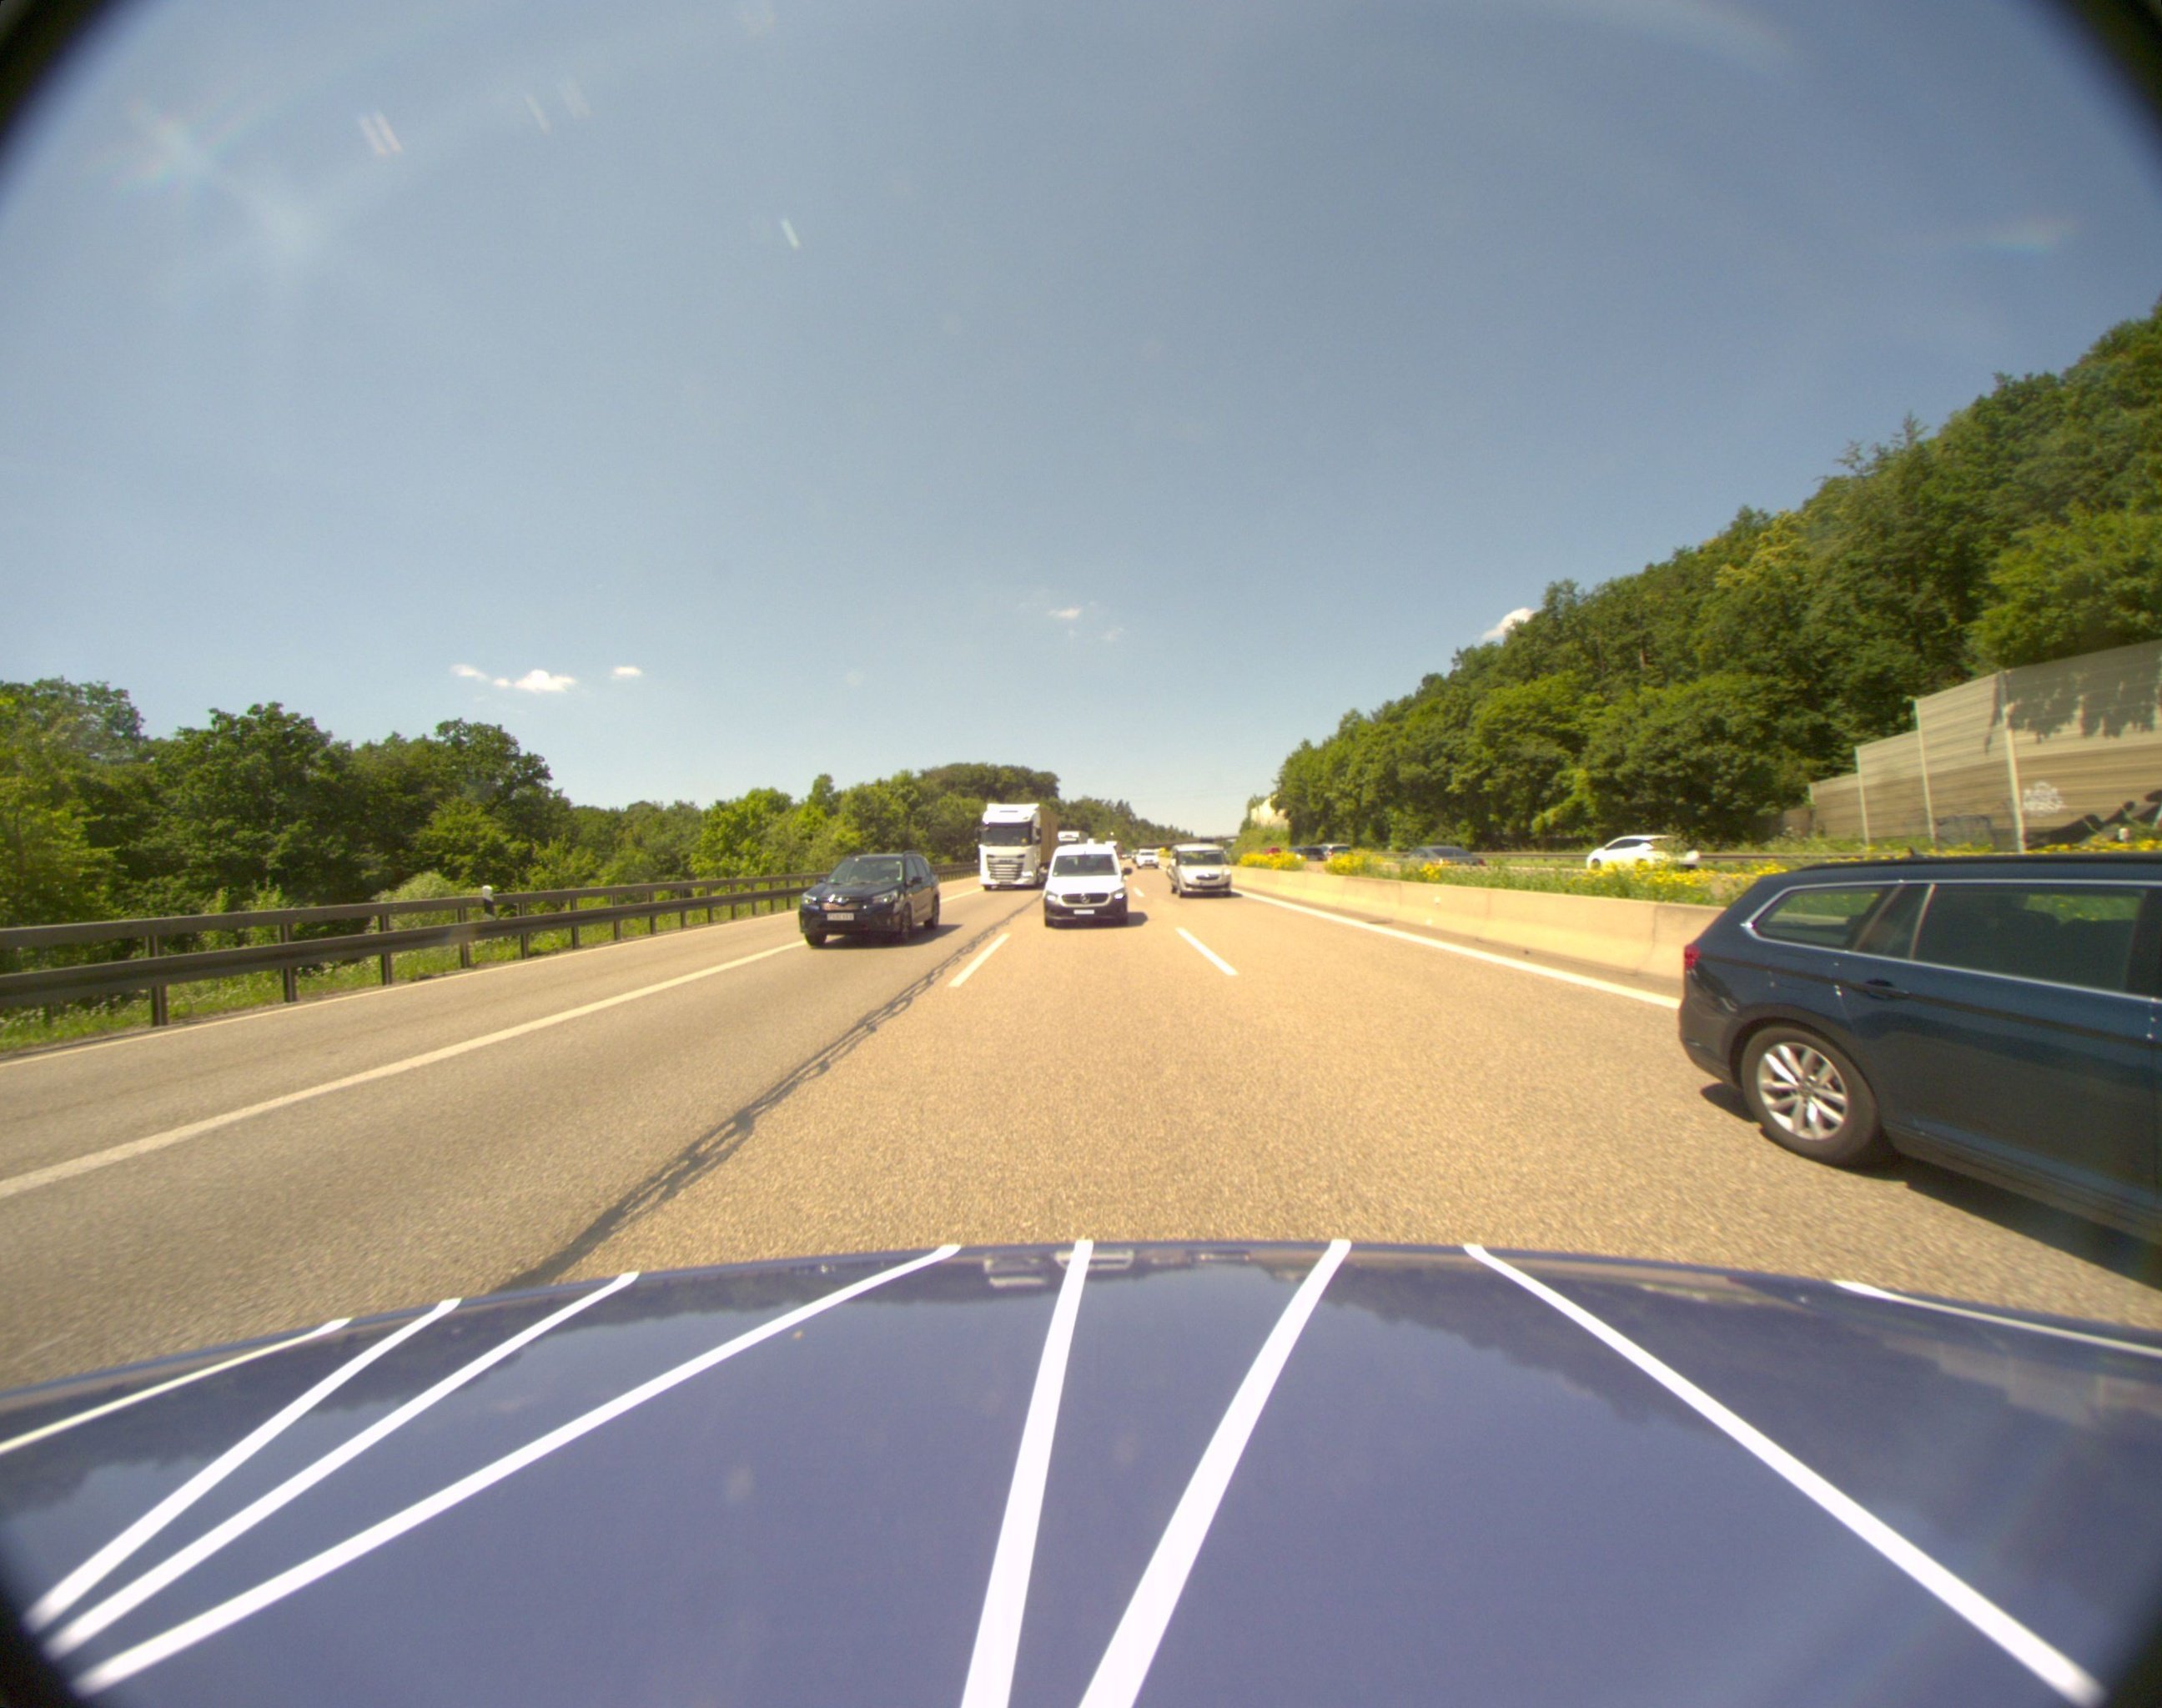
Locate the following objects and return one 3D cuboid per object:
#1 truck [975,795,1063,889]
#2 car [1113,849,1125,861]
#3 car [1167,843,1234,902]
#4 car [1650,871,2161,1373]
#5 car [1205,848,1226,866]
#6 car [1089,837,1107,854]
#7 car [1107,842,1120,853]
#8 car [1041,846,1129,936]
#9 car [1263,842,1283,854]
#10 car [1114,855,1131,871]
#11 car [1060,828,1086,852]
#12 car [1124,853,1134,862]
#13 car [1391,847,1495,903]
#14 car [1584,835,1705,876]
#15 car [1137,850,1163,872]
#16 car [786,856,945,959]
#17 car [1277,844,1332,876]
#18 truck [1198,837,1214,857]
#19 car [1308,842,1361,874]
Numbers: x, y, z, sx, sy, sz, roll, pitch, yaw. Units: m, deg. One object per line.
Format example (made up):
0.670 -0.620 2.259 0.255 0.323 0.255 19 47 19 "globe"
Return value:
-2.947 -0.649 41.853 2.789 4.145 16.268 -1 1 3 "truck"
6.954 0.156 138.204 1.902 2.002 4.000 -2 0 0 "car"
4.083 0.589 26.495 1.780 1.833 4.000 -2 0 2 "car"
4.128 0.843 2.015 1.737 1.419 4.730 -2 0 1 "car"
14.159 0.296 80.247 1.536 1.760 3.885 -2 0 2 "car"
2.736 -1.402 120.824 2.721 2.534 5.940 -2 1 1 "car"
7.467 -1.486 175.216 2.721 2.534 5.940 -2 1 1 "car"
0.136 0.739 17.630 1.729 1.760 4.313 -2 1 2 "car"
26.959 -0.908 106.772 1.731 1.625 4.000 -2 1 2 "car"
5.537 1.218 102.434 1.999 2.002 3.999 -2 0 -1 "car"
-0.861 -1.605 85.951 2.721 2.534 5.940 -2 1 1 "car"
10.793 0.802 171.983 1.998 2.002 4.000 -2 0 1 "car"
11.770 0.619 24.974 1.646 1.641 3.712 -2 1 1 "car"
22.119 0.042 30.060 1.634 1.474 4.313 -2 0 2 "car"
6.198 0.578 68.388 1.998 1.827 4.000 -2 0 1 "car"
-4.064 0.924 15.108 1.816 1.658 4.203 -2 1 2 "car"
12.213 0.297 41.791 1.728 1.613 4.690 -2 0 1 "car"
22.492 -1.321 136.987 1.998 3.485 6.026 -2 0 2 "truck"
16.234 0.205 48.919 1.998 1.888 4.505 -2 1 2 "car"
